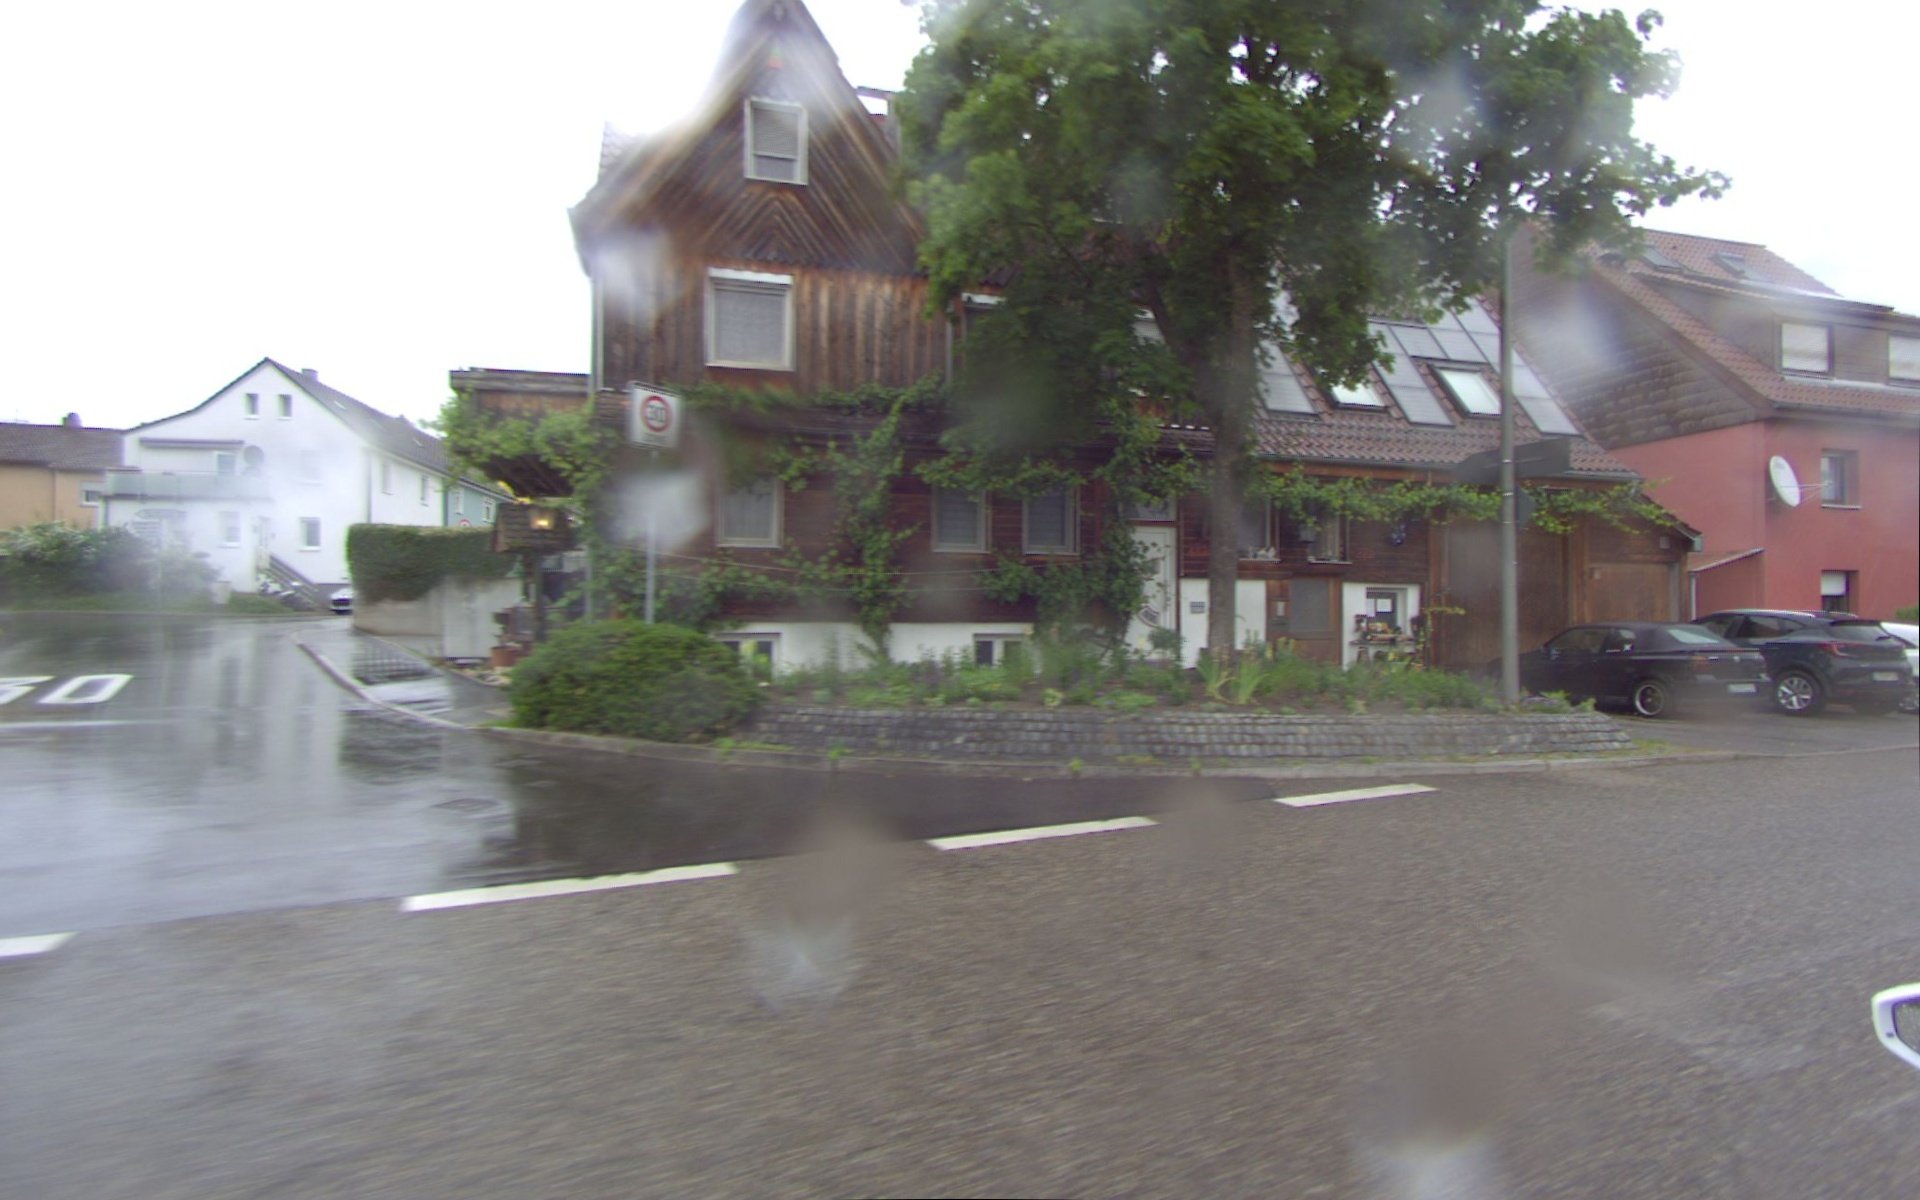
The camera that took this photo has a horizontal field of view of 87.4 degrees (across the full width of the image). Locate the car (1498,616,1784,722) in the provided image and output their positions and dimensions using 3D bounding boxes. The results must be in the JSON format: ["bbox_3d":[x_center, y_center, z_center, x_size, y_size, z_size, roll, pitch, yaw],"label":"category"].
[{"bbox_3d":[10.339,0.995,15.549,1.606,1.437,3.446,1,-2,-16],"label":"car"}]

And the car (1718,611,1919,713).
[{"bbox_3d":[15.205,1.001,17.060,1.565,1.499,3.460,2,0,-16],"label":"car"}]

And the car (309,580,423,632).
[{"bbox_3d":[-23.491,0.177,39.915,1.960,1.759,4.000,1,4,4],"label":"car"}]

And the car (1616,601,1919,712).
[{"bbox_3d":[13.022,0.830,16.370,1.824,1.526,3.576,1,1,-14],"label":"car"}]

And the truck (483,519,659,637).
[{"bbox_3d":[-9.282,-0.461,24.286,3.783,2.647,1.775,1,-1,-17],"label":"truck"}]
